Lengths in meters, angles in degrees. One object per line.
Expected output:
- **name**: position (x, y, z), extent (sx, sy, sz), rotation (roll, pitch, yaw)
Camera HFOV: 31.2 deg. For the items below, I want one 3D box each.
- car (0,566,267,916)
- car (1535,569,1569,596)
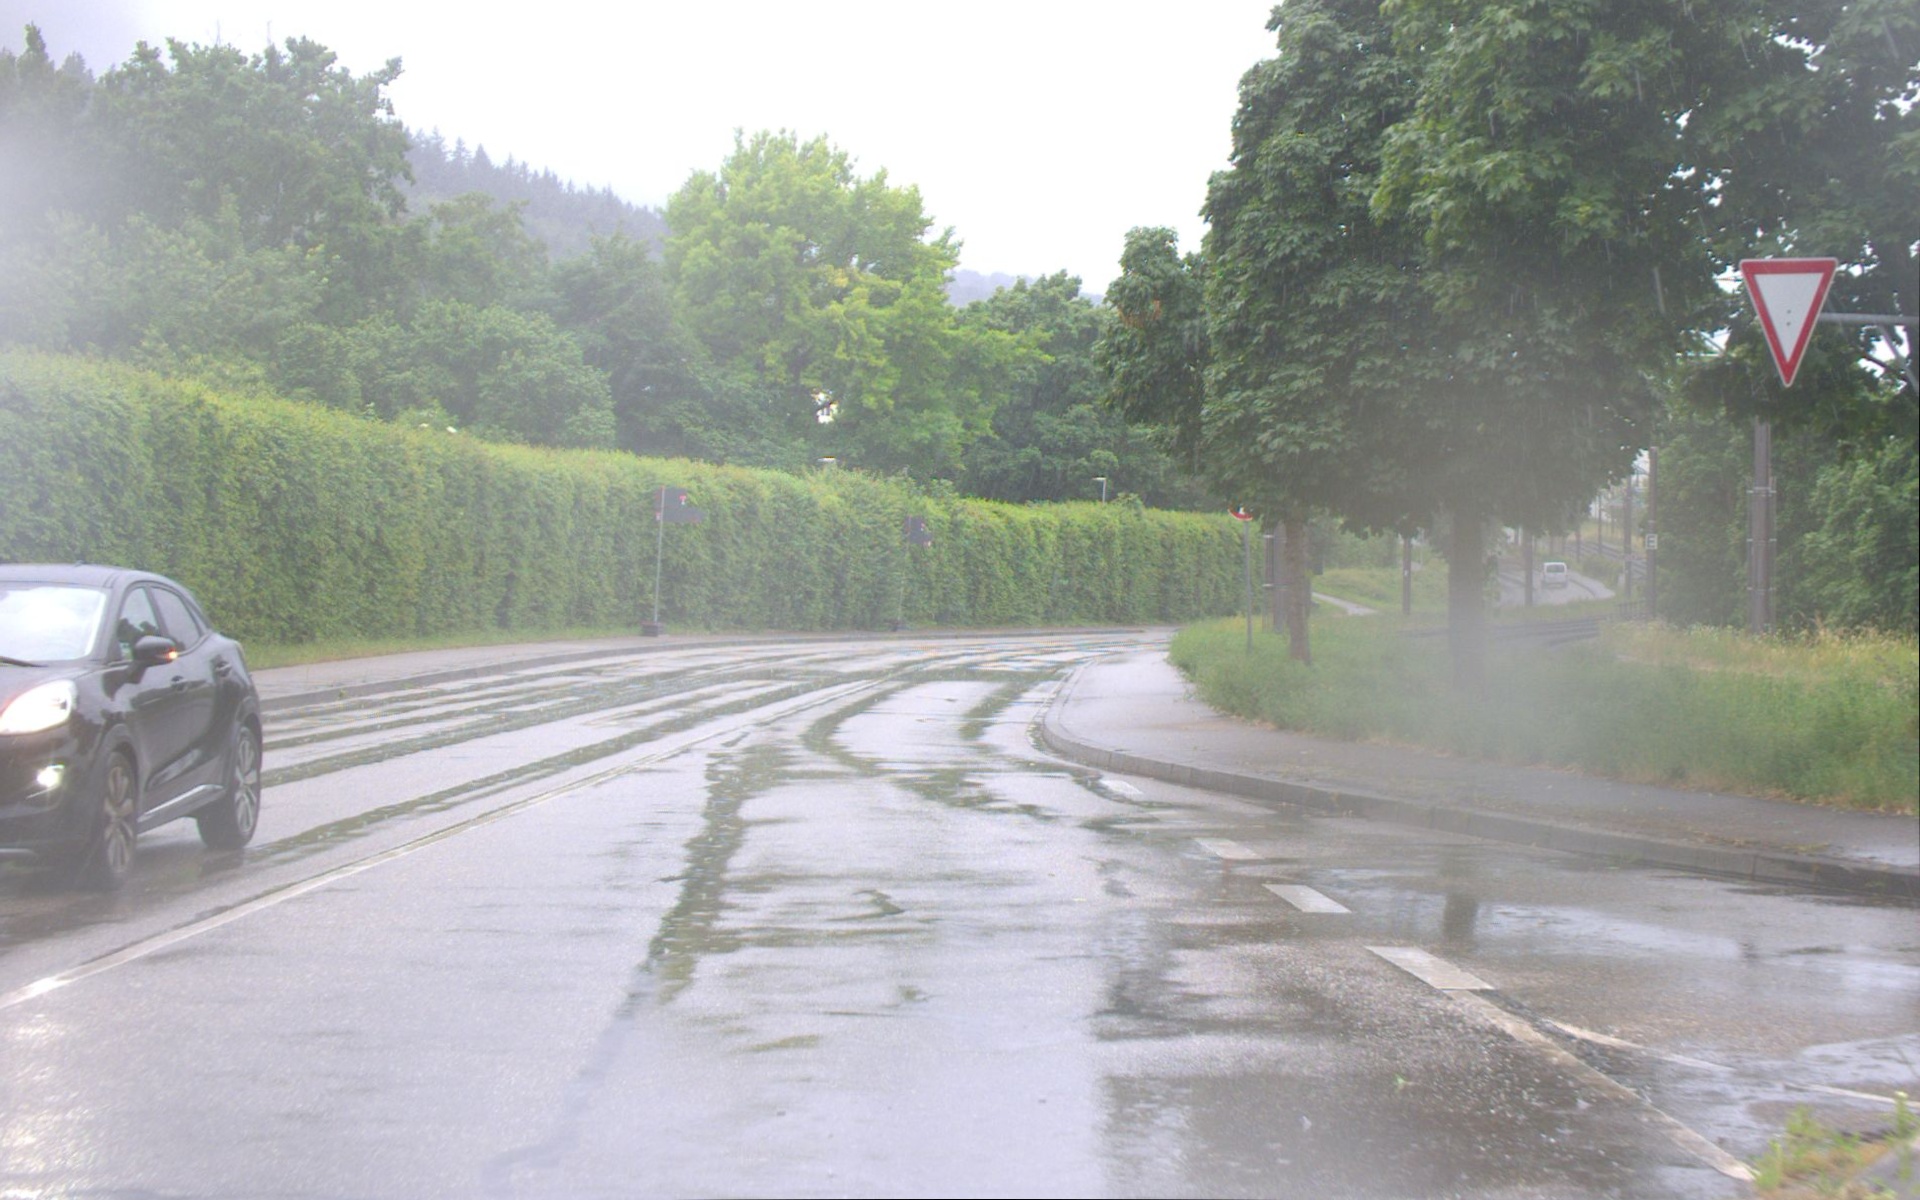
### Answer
- **car**: position (-4.761, 0.596, 17.119), extent (1.785, 1.499, 4.061), rotation (1, 1, 0)
- **car**: position (42.147, -1.264, 244.813), extent (1.955, 1.897, 4.117), rotation (1, 1, 15)
